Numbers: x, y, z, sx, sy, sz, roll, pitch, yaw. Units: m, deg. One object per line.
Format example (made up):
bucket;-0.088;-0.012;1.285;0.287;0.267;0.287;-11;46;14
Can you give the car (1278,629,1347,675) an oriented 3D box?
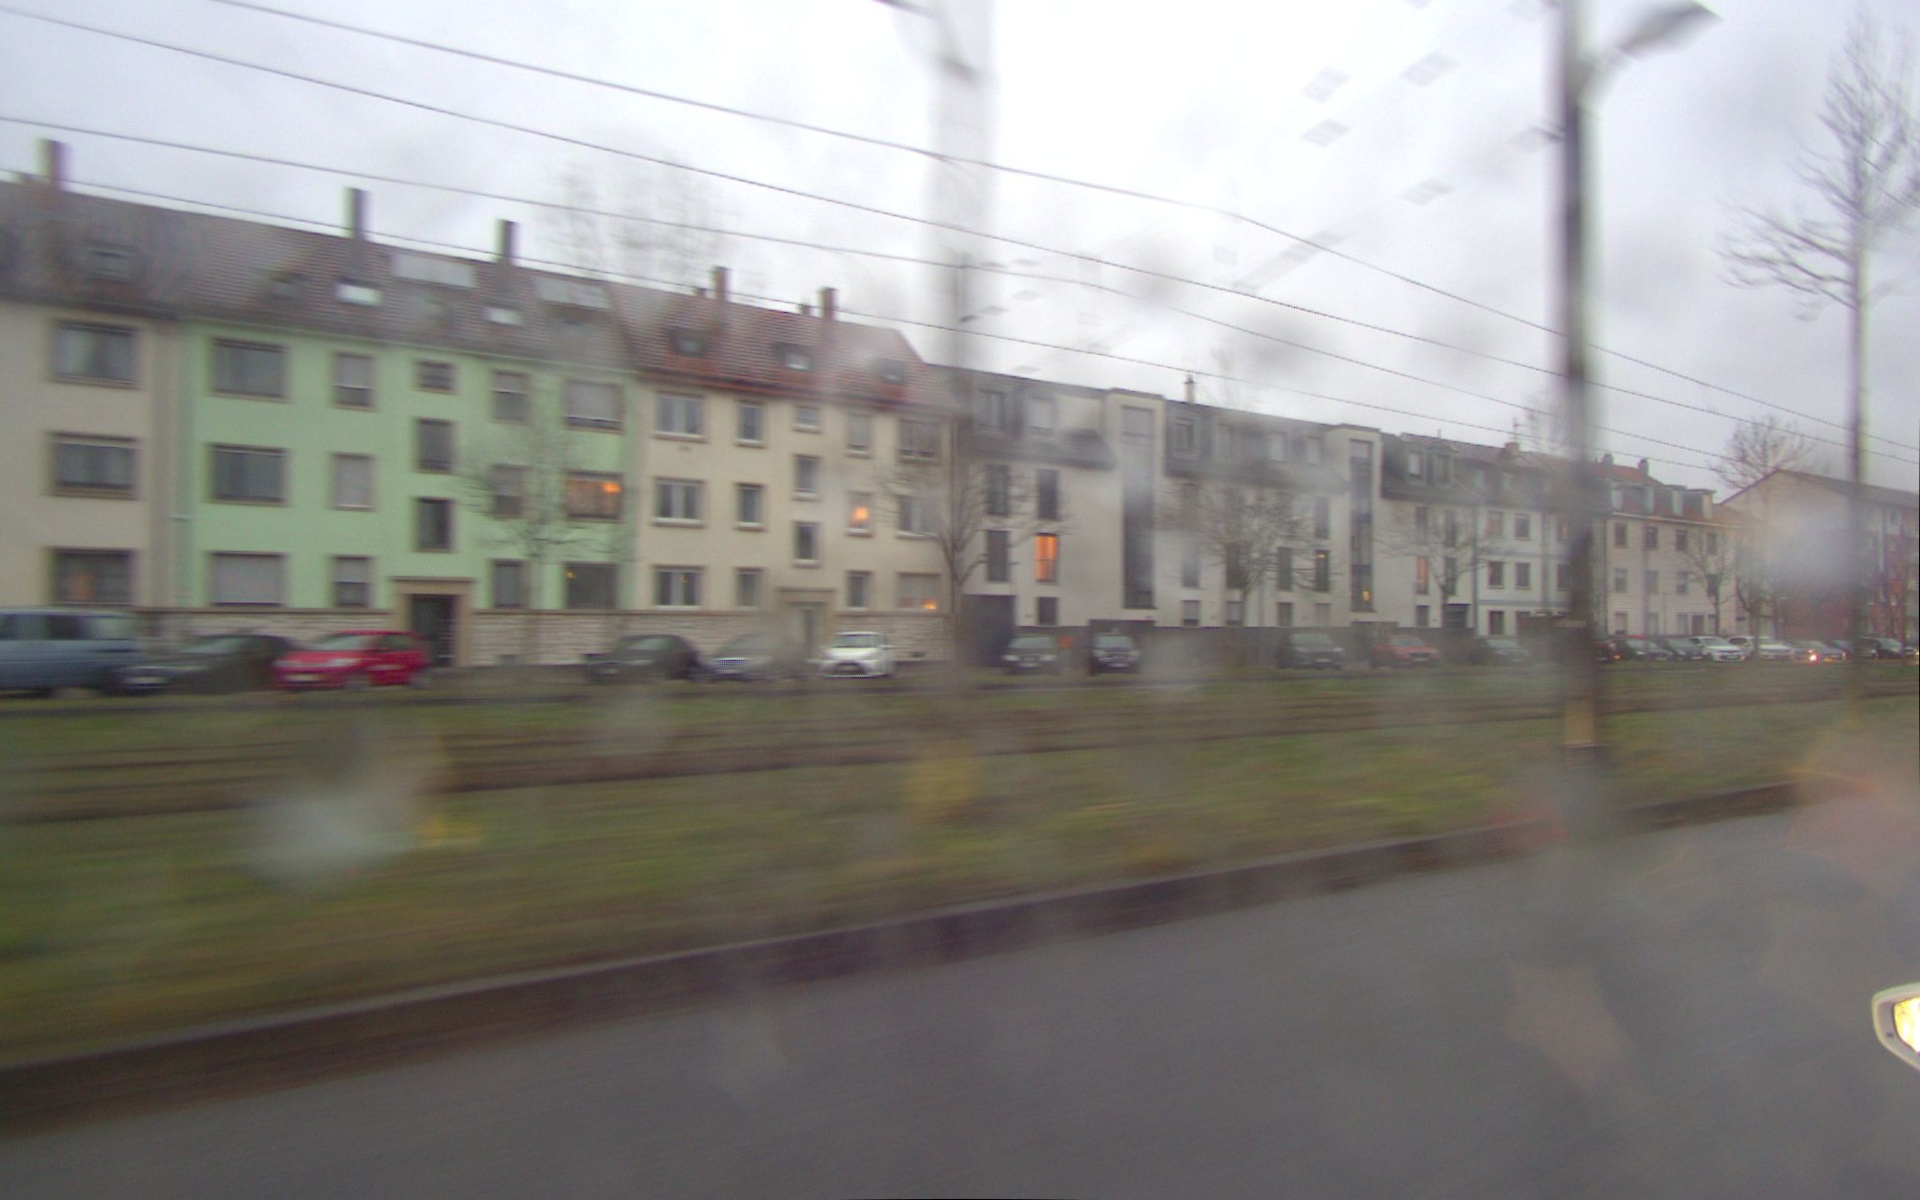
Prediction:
car;13.753;2.002;39.406;1.636;1.561;4.165;1;0;6

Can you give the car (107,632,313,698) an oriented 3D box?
car;-16.157;1.351;21.879;1.702;1.156;3.573;1;0;3

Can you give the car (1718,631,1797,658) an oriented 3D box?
car;46.755;2.585;58.978;1.737;1.397;4.126;1;0;7

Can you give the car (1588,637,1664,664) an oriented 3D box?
car;35.039;2.642;52.965;1.713;1.228;3.541;1;0;2

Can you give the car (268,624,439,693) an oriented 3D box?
car;-13.828;1.285;23.150;1.653;1.326;3.581;1;0;3

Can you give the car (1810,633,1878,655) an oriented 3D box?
car;58.016;2.888;65.978;1.424;1.355;3.770;0;-1;6

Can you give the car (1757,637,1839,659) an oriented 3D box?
car;51.775;2.938;62.151;1.648;1.131;4.190;1;0;1

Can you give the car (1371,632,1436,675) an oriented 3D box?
car;18.816;2.238;42.759;1.707;1.610;3.851;1;0;12

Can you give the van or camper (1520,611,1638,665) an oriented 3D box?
van or camper;30.610;1.787;50.006;1.960;2.391;6.884;1;0;4

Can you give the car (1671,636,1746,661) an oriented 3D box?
car;41.306;2.674;55.530;1.658;1.162;3.419;1;0;2

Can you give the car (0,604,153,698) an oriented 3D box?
car;-19.284;0.996;20.392;1.796;1.746;4.660;1;0;4

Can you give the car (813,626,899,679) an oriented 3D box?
car;-2.935;1.466;29.091;1.702;1.262;3.845;1;0;6

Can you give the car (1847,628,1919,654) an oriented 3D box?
car;63.129;2.796;68.669;1.707;1.576;3.799;1;0;3

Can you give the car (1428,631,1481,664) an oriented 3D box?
car;22.248;2.126;45.300;1.360;1.320;3.099;1;0;12

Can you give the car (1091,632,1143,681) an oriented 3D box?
car;5.375;1.899;34.461;1.636;1.441;3.387;1;0;9

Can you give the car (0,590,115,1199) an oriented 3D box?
car;-3.272;0.701;0.603;3.954;1.494;1.680;1;0;-30

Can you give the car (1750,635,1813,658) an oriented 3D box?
car;49.502;2.789;60.593;1.369;1.162;3.045;1;0;1

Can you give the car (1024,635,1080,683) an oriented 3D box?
car;2.960;1.898;32.784;1.703;1.354;2.937;1;0;3

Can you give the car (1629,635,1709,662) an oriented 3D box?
car;38.040;2.588;53.962;1.845;1.216;3.541;1;0;2

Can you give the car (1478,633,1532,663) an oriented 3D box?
car;24.869;2.158;45.877;1.360;1.220;2.890;1;0;12

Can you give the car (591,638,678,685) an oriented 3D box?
car;-8.453;1.586;26.236;1.408;1.062;2.393;0;0;3

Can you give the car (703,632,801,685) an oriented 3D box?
car;-5.630;1.564;27.621;1.703;1.188;3.822;1;0;3
